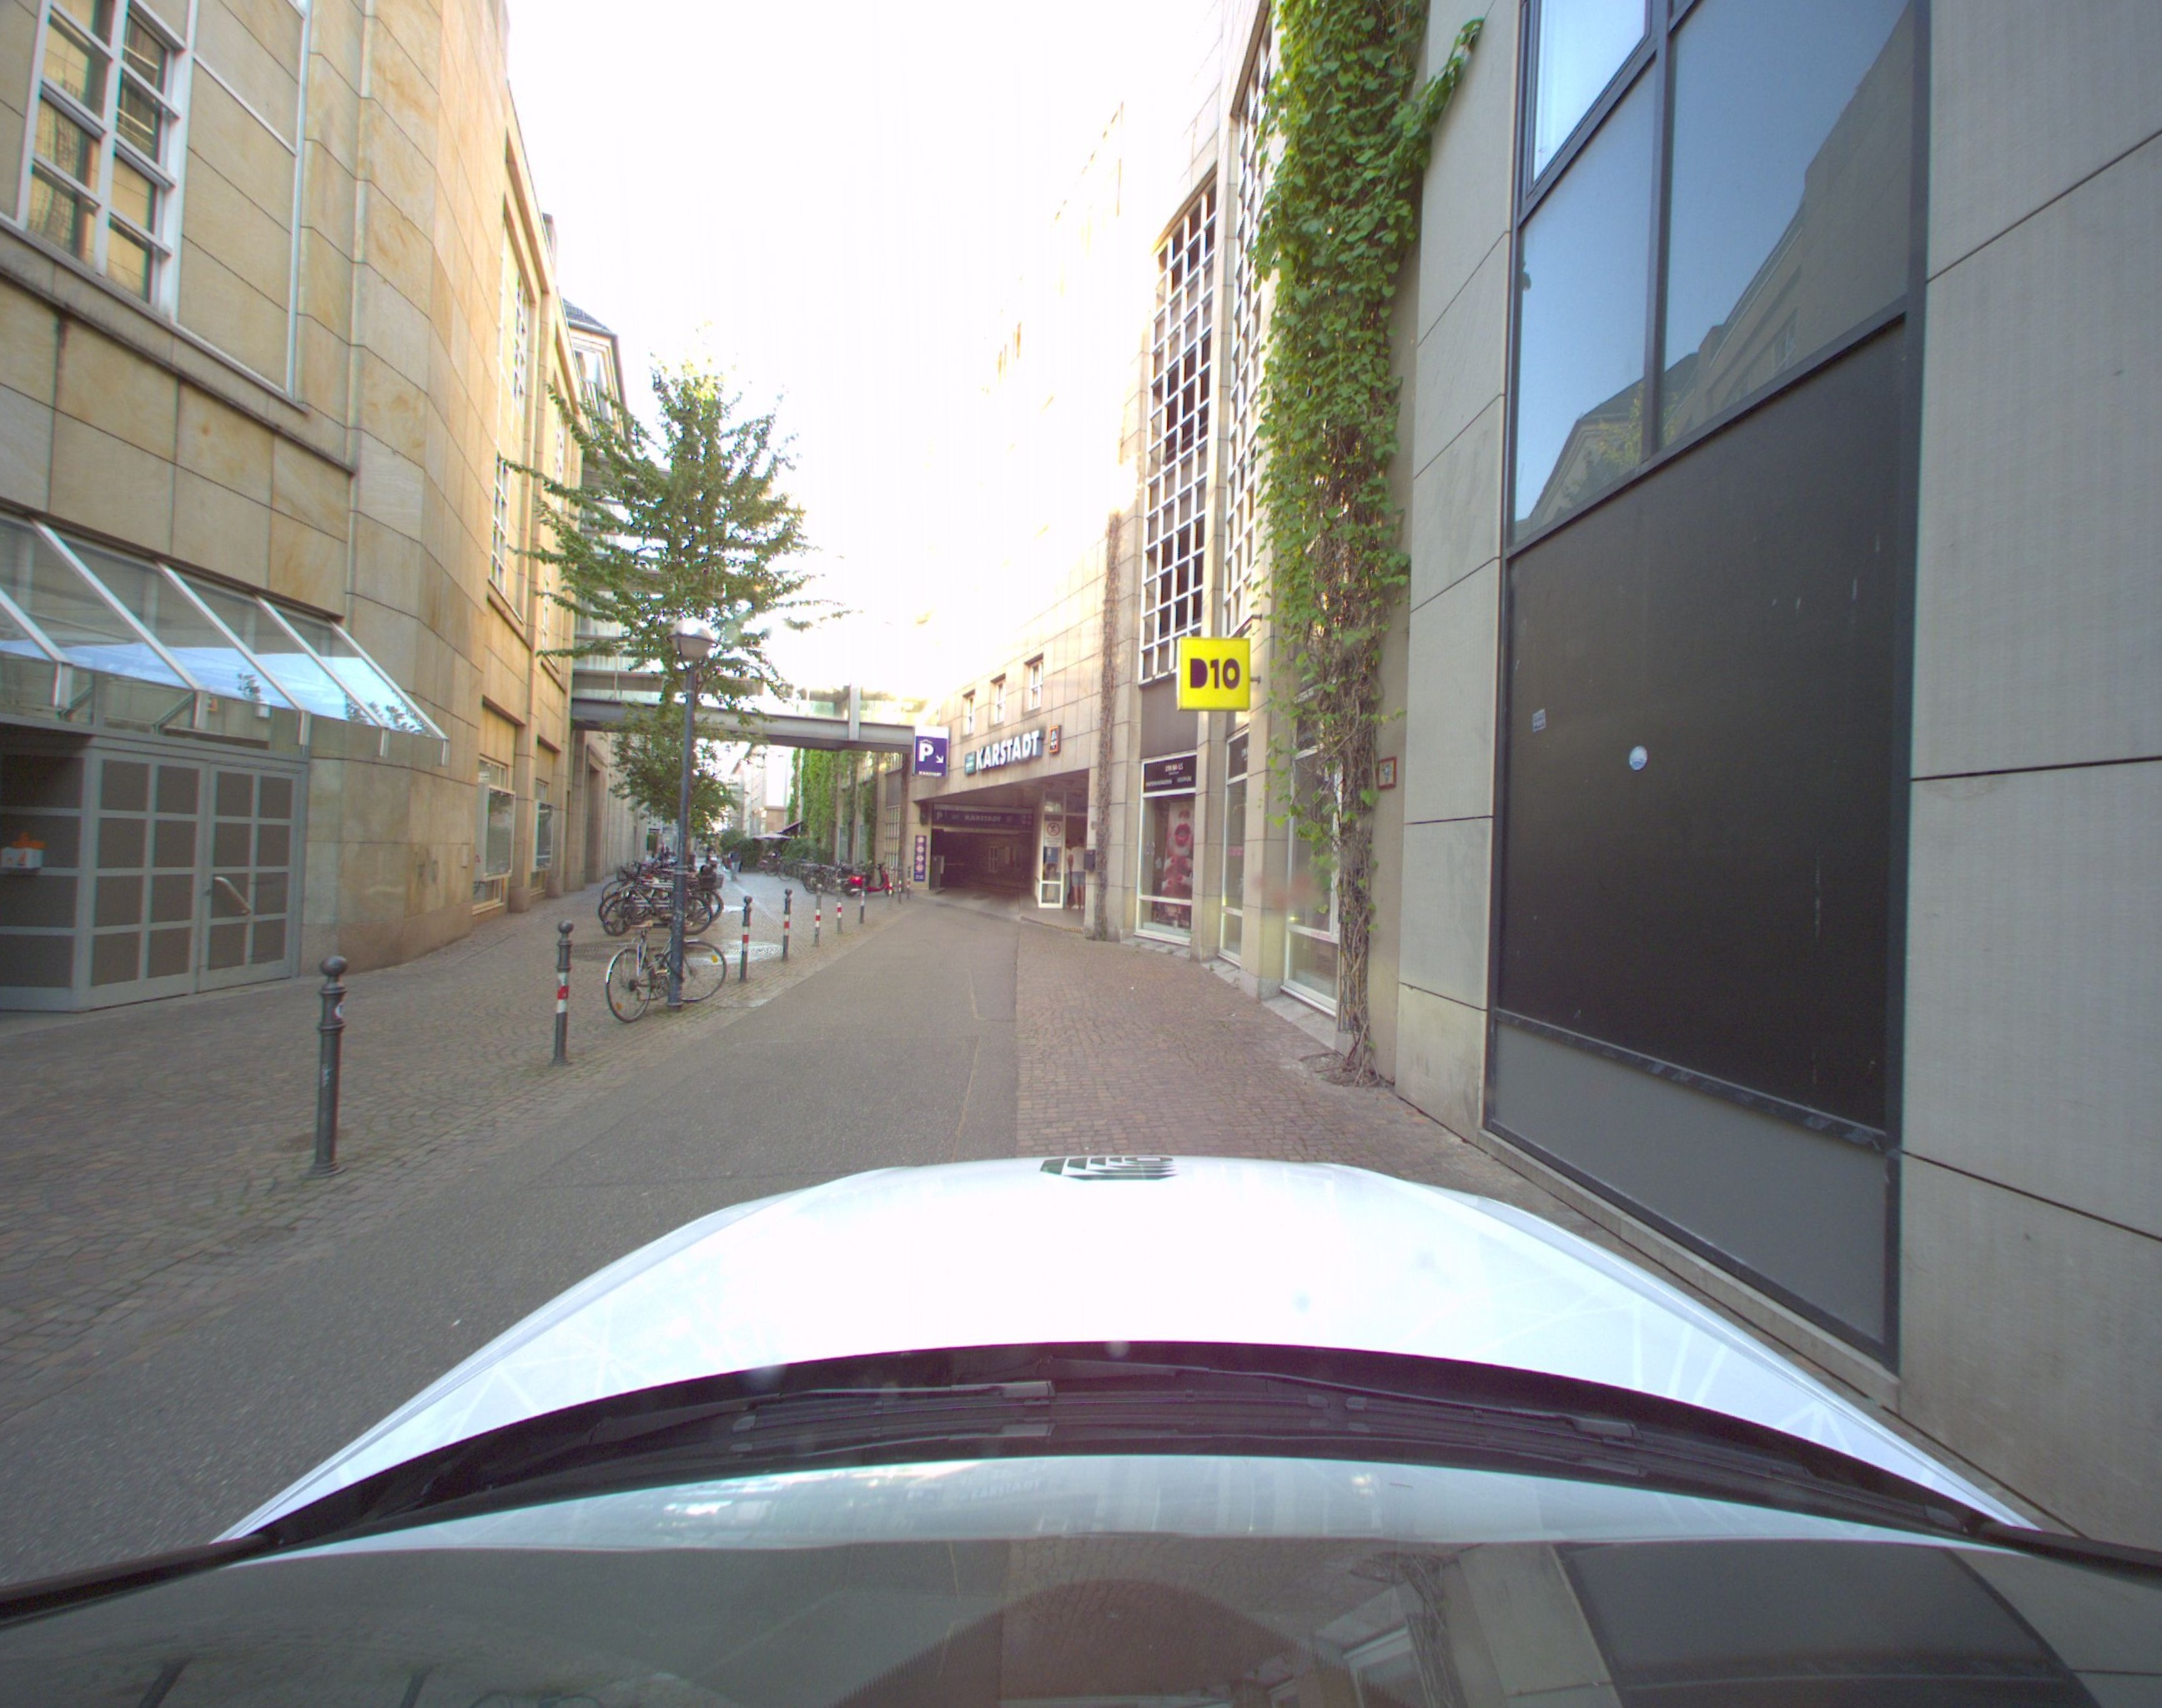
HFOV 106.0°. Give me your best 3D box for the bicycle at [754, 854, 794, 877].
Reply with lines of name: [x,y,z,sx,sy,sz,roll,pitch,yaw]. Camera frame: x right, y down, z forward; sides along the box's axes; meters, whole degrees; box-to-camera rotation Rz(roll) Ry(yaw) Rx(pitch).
bicycle: [-16.793,0.620,44.528,2.003,1.182,0.688,0,0,-25]

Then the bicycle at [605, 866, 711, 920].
bicycle: [-9.035,0.841,17.494,1.920,1.101,0.691,2,0,-22]

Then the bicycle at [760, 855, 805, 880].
bicycle: [-14.684,0.643,40.058,2.003,1.182,0.688,0,0,-25]

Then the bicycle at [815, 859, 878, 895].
bicycle: [-8.044,0.783,27.969,2.003,1.182,0.690,0,0,-25]

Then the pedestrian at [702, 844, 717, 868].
pedestrian: [-26.156,0.115,57.275,0.896,1.639,0.904,1,-1,-26]

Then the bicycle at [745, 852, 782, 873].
bicycle: [-19.028,0.498,48.817,2.003,1.182,0.688,0,0,-25]

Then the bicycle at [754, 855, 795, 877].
bicycle: [-16.455,0.640,43.748,2.003,1.182,0.688,0,0,-25]

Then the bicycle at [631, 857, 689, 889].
bicycle: [-16.313,0.723,31.610,1.920,1.182,0.691,2,0,-22]

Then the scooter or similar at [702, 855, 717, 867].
scooter or similar: [-25.781,0.488,56.448,0.896,0.843,0.904,1,0,-26]

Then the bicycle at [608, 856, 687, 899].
bicycle: [-12.507,0.689,23.556,1.920,1.182,0.691,2,0,-22]

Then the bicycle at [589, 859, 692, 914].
bicycle: [-9.869,0.740,18.318,1.920,1.182,0.691,2,0,-22]

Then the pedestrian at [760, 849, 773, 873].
pedestrian: [-23.723,0.520,61.412,0.779,1.804,0.760,1,0,-29]

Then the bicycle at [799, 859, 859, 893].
bicycle: [-9.159,0.787,29.609,2.003,1.182,0.796,0,0,-24]

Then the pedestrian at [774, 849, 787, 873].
pedestrian: [-22.717,0.550,61.546,0.779,1.804,0.760,1,0,-29]

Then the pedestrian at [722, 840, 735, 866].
pedestrian: [-24.537,-0.073,56.728,0.769,1.804,0.770,1,-1,-26]

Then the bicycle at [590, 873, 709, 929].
bicycle: [-8.140,0.880,15.467,1.922,0.994,0.690,2,0,-25]

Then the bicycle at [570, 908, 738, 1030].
bicycle: [-4.147,1.073,8.065,0.502,0.966,1.699,1,0,10]

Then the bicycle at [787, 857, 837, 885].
bicycle: [-11.601,0.709,35.087,2.003,1.182,0.688,0,0,-25]

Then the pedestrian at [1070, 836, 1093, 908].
pedestrian: [0.028,0.468,21.597,0.540,1.861,0.408,2,0,1]

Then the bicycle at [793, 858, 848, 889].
bicycle: [-10.252,0.747,32.100,2.003,1.182,0.796,0,0,-24]

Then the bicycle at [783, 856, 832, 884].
bicycle: [-12.130,0.707,36.113,2.003,1.182,0.688,0,0,-25]

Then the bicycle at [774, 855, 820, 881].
bicycle: [-13.368,0.634,38.362,2.003,1.182,0.688,0,0,-25]

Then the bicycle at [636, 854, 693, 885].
bicycle: [-16.594,0.618,32.517,1.920,1.182,0.691,2,0,-22]

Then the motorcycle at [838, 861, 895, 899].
motorcycle: [-6.948,0.829,26.394,1.753,1.155,0.590,0,0,-22]

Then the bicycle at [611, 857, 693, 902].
bicycle: [-11.860,0.709,22.573,1.920,1.182,0.691,2,0,-22]

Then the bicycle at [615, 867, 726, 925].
bicycle: [-8.210,0.834,16.382,1.922,1.101,0.690,2,0,-25]

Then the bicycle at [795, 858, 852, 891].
bicycle: [-9.700,0.766,30.694,2.003,1.182,0.796,0,0,-24]

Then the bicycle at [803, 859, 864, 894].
bicycle: [-8.752,0.782,28.764,2.003,1.182,0.690,0,0,-25]

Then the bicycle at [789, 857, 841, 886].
bicycle: [-11.083,0.724,33.896,2.003,1.182,0.688,0,0,-25]

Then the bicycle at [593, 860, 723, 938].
bicycle: [-7.288,0.763,14.132,1.922,1.261,0.802,2,0,-25]

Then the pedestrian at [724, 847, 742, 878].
pedestrian: [-17.197,0.403,40.233,0.752,1.509,0.632,1,-1,-27]

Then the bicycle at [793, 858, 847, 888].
bicycle: [-10.588,0.766,33.058,2.003,1.182,0.688,0,0,-25]

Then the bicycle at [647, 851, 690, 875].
bicycle: [-21.585,0.479,42.651,1.920,1.182,0.691,2,0,-22]

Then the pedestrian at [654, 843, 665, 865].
pedestrian: [-35.358,0.031,68.313,0.779,1.804,0.628,1,-1,-29]

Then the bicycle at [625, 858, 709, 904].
bicycle: [-11.091,0.730,21.905,1.920,1.182,0.691,2,0,-22]

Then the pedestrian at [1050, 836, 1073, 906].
pedestrian: [-0.527,0.449,21.776,0.540,1.846,0.408,2,0,1]
